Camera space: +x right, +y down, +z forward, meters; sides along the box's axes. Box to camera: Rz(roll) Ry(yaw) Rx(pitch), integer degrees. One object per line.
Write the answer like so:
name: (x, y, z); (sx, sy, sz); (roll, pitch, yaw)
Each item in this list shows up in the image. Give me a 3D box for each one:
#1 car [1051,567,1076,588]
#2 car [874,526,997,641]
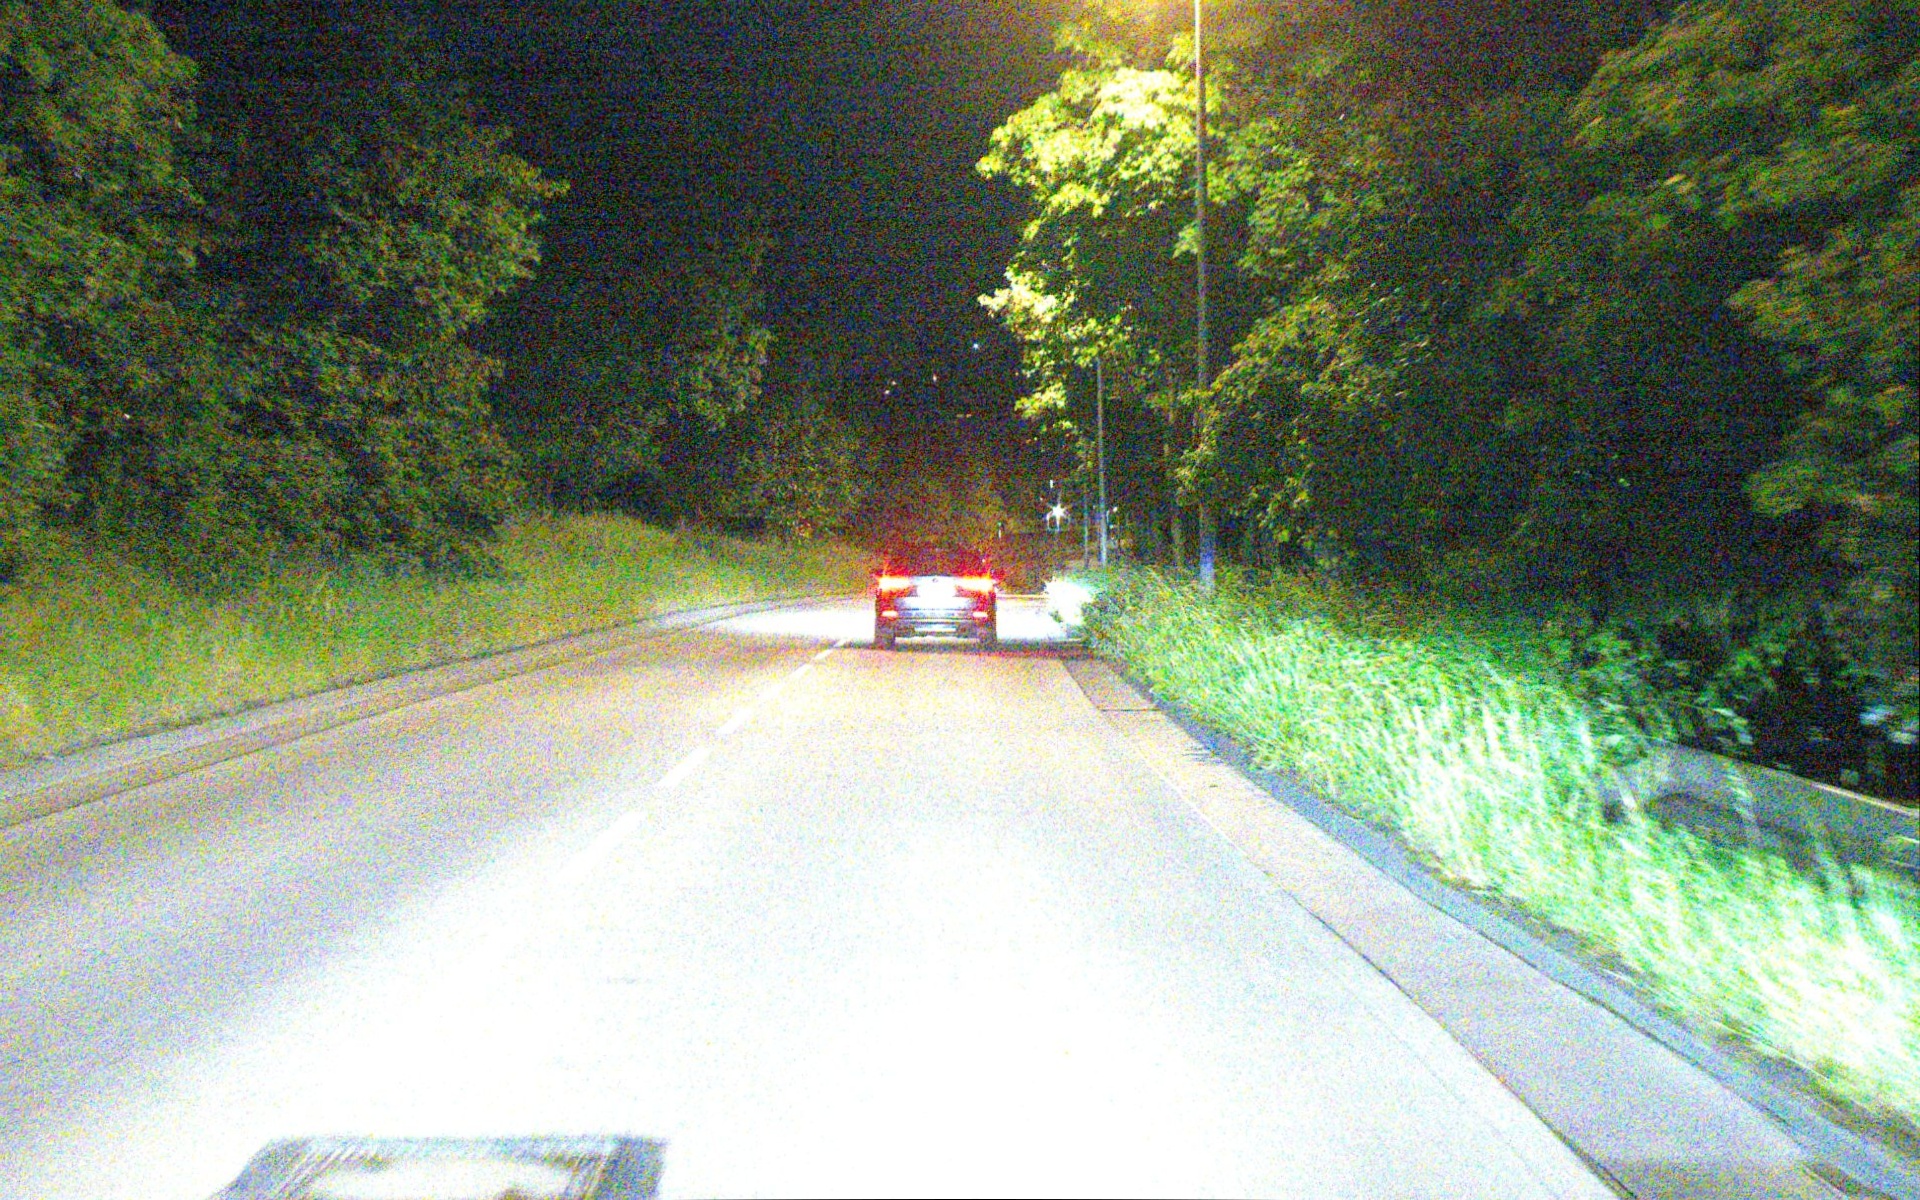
car: (7.063, -1.548, 235.170); (1.687, 1.452, 4.000); (1, 0, 2)
car: (-0.364, -0.260, 51.451); (1.763, 1.636, 3.723); (1, 1, 0)
